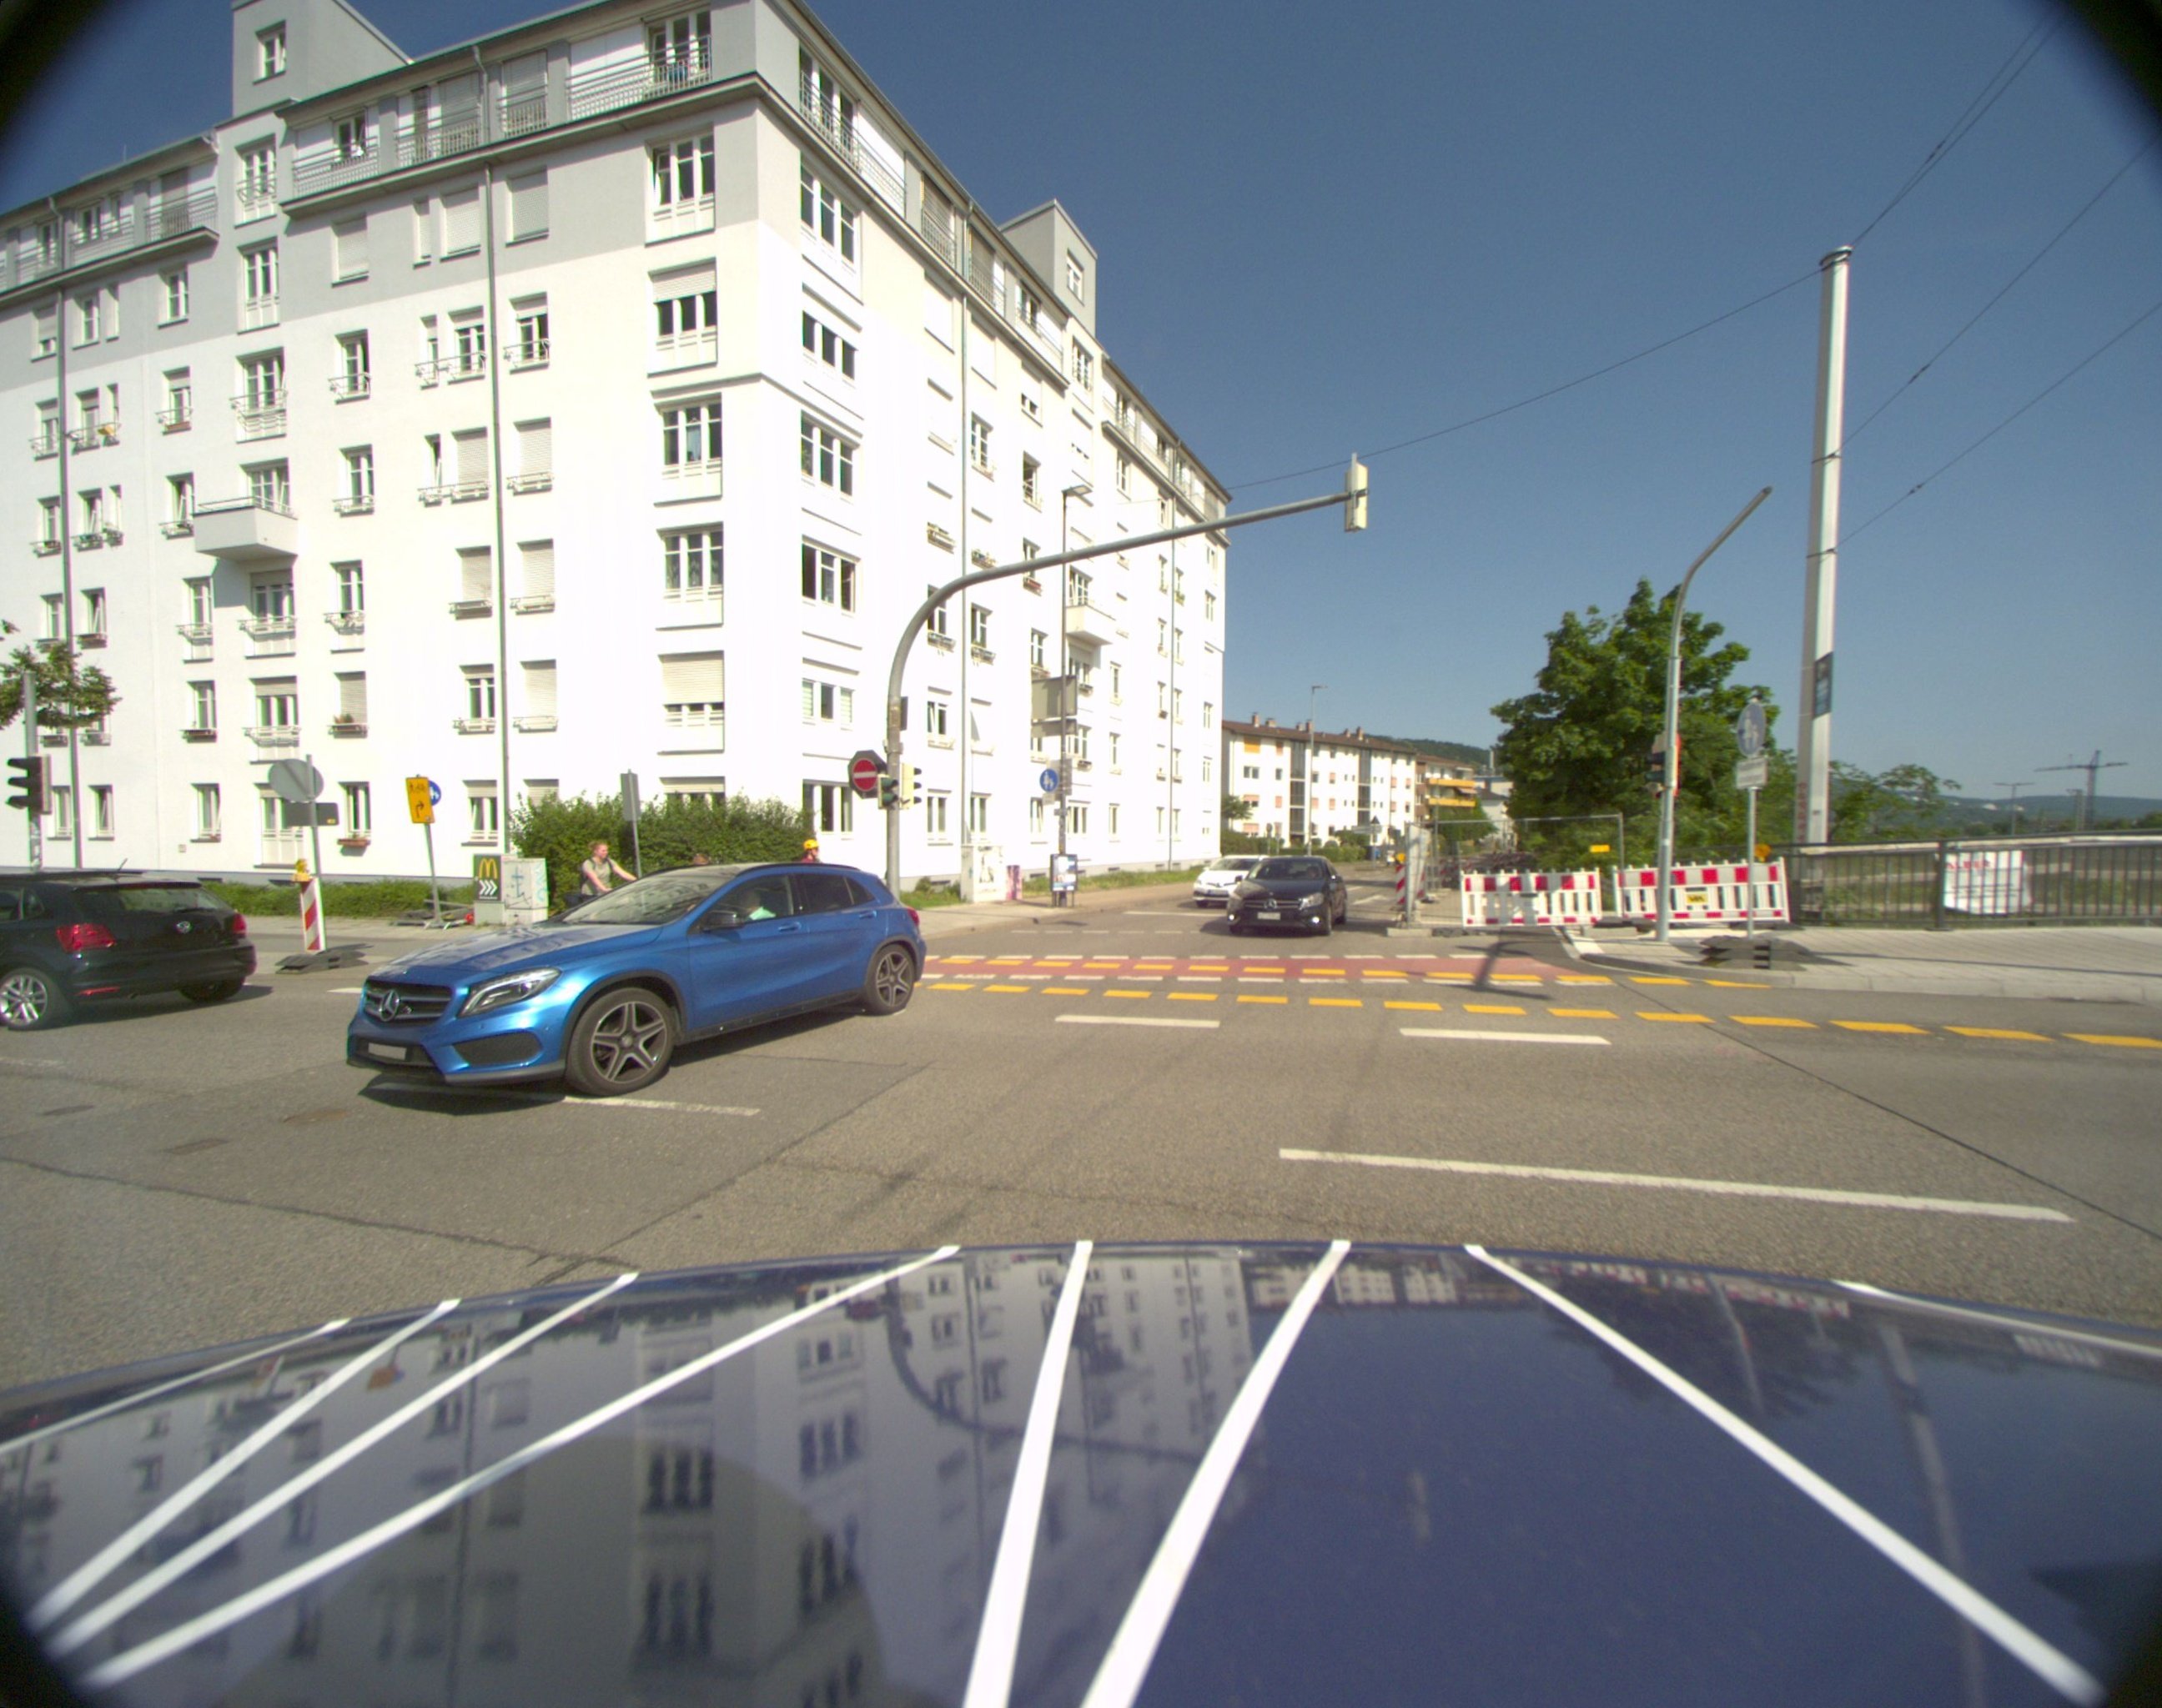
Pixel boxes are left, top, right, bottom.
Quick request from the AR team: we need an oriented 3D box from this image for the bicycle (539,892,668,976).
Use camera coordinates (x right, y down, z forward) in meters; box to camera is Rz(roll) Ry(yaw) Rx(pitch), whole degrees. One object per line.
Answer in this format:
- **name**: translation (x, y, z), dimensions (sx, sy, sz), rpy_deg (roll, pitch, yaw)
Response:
- **bicycle**: translation (-7.121, 1.160, 11.332), dimensions (1.782, 1.093, 0.619), rpy_deg (1, 3, 20)

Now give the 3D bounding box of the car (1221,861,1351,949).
- **car**: translation (4.178, 0.864, 14.913), dimensions (1.699, 1.400, 4.630), rpy_deg (-1, 0, 25)

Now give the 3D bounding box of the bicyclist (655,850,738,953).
- **bicyclist**: translation (-6.082, 0.740, 12.059), dimensions (0.916, 1.570, 0.624), rpy_deg (-1, 3, 6)

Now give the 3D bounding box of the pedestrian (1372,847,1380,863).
- **pedestrian**: translation (27.908, 0.065, 71.873), dimensions (0.606, 1.501, 0.772), rpy_deg (1, 3, 33)

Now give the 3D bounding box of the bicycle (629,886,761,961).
- **bicycle**: translation (-6.117, 1.093, 12.085), dimensions (1.784, 1.093, 0.628), rpy_deg (-1, 3, 6)

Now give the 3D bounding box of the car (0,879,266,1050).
- **car**: translation (-10.964, 1.048, 7.706), dimensions (3.659, 1.484, 1.594), rpy_deg (-1, 1, 0)

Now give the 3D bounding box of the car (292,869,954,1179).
- **car**: translation (-3.102, 0.945, 6.383), dimensions (1.672, 1.472, 4.558), rpy_deg (-1, 1, 25)

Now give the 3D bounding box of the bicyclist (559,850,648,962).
- **bicyclist**: translation (-7.091, 0.745, 11.305), dimensions (0.916, 1.581, 0.624), rpy_deg (0, 2, 19)

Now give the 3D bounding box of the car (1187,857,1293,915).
- **car**: translation (4.677, 0.835, 21.808), dimensions (1.698, 1.404, 4.494), rpy_deg (-1, 0, 29)

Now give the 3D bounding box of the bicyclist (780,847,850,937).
- **bicyclist**: translation (-4.475, 0.635, 12.840), dimensions (0.917, 1.469, 0.597), rpy_deg (-1, 2, 4)
